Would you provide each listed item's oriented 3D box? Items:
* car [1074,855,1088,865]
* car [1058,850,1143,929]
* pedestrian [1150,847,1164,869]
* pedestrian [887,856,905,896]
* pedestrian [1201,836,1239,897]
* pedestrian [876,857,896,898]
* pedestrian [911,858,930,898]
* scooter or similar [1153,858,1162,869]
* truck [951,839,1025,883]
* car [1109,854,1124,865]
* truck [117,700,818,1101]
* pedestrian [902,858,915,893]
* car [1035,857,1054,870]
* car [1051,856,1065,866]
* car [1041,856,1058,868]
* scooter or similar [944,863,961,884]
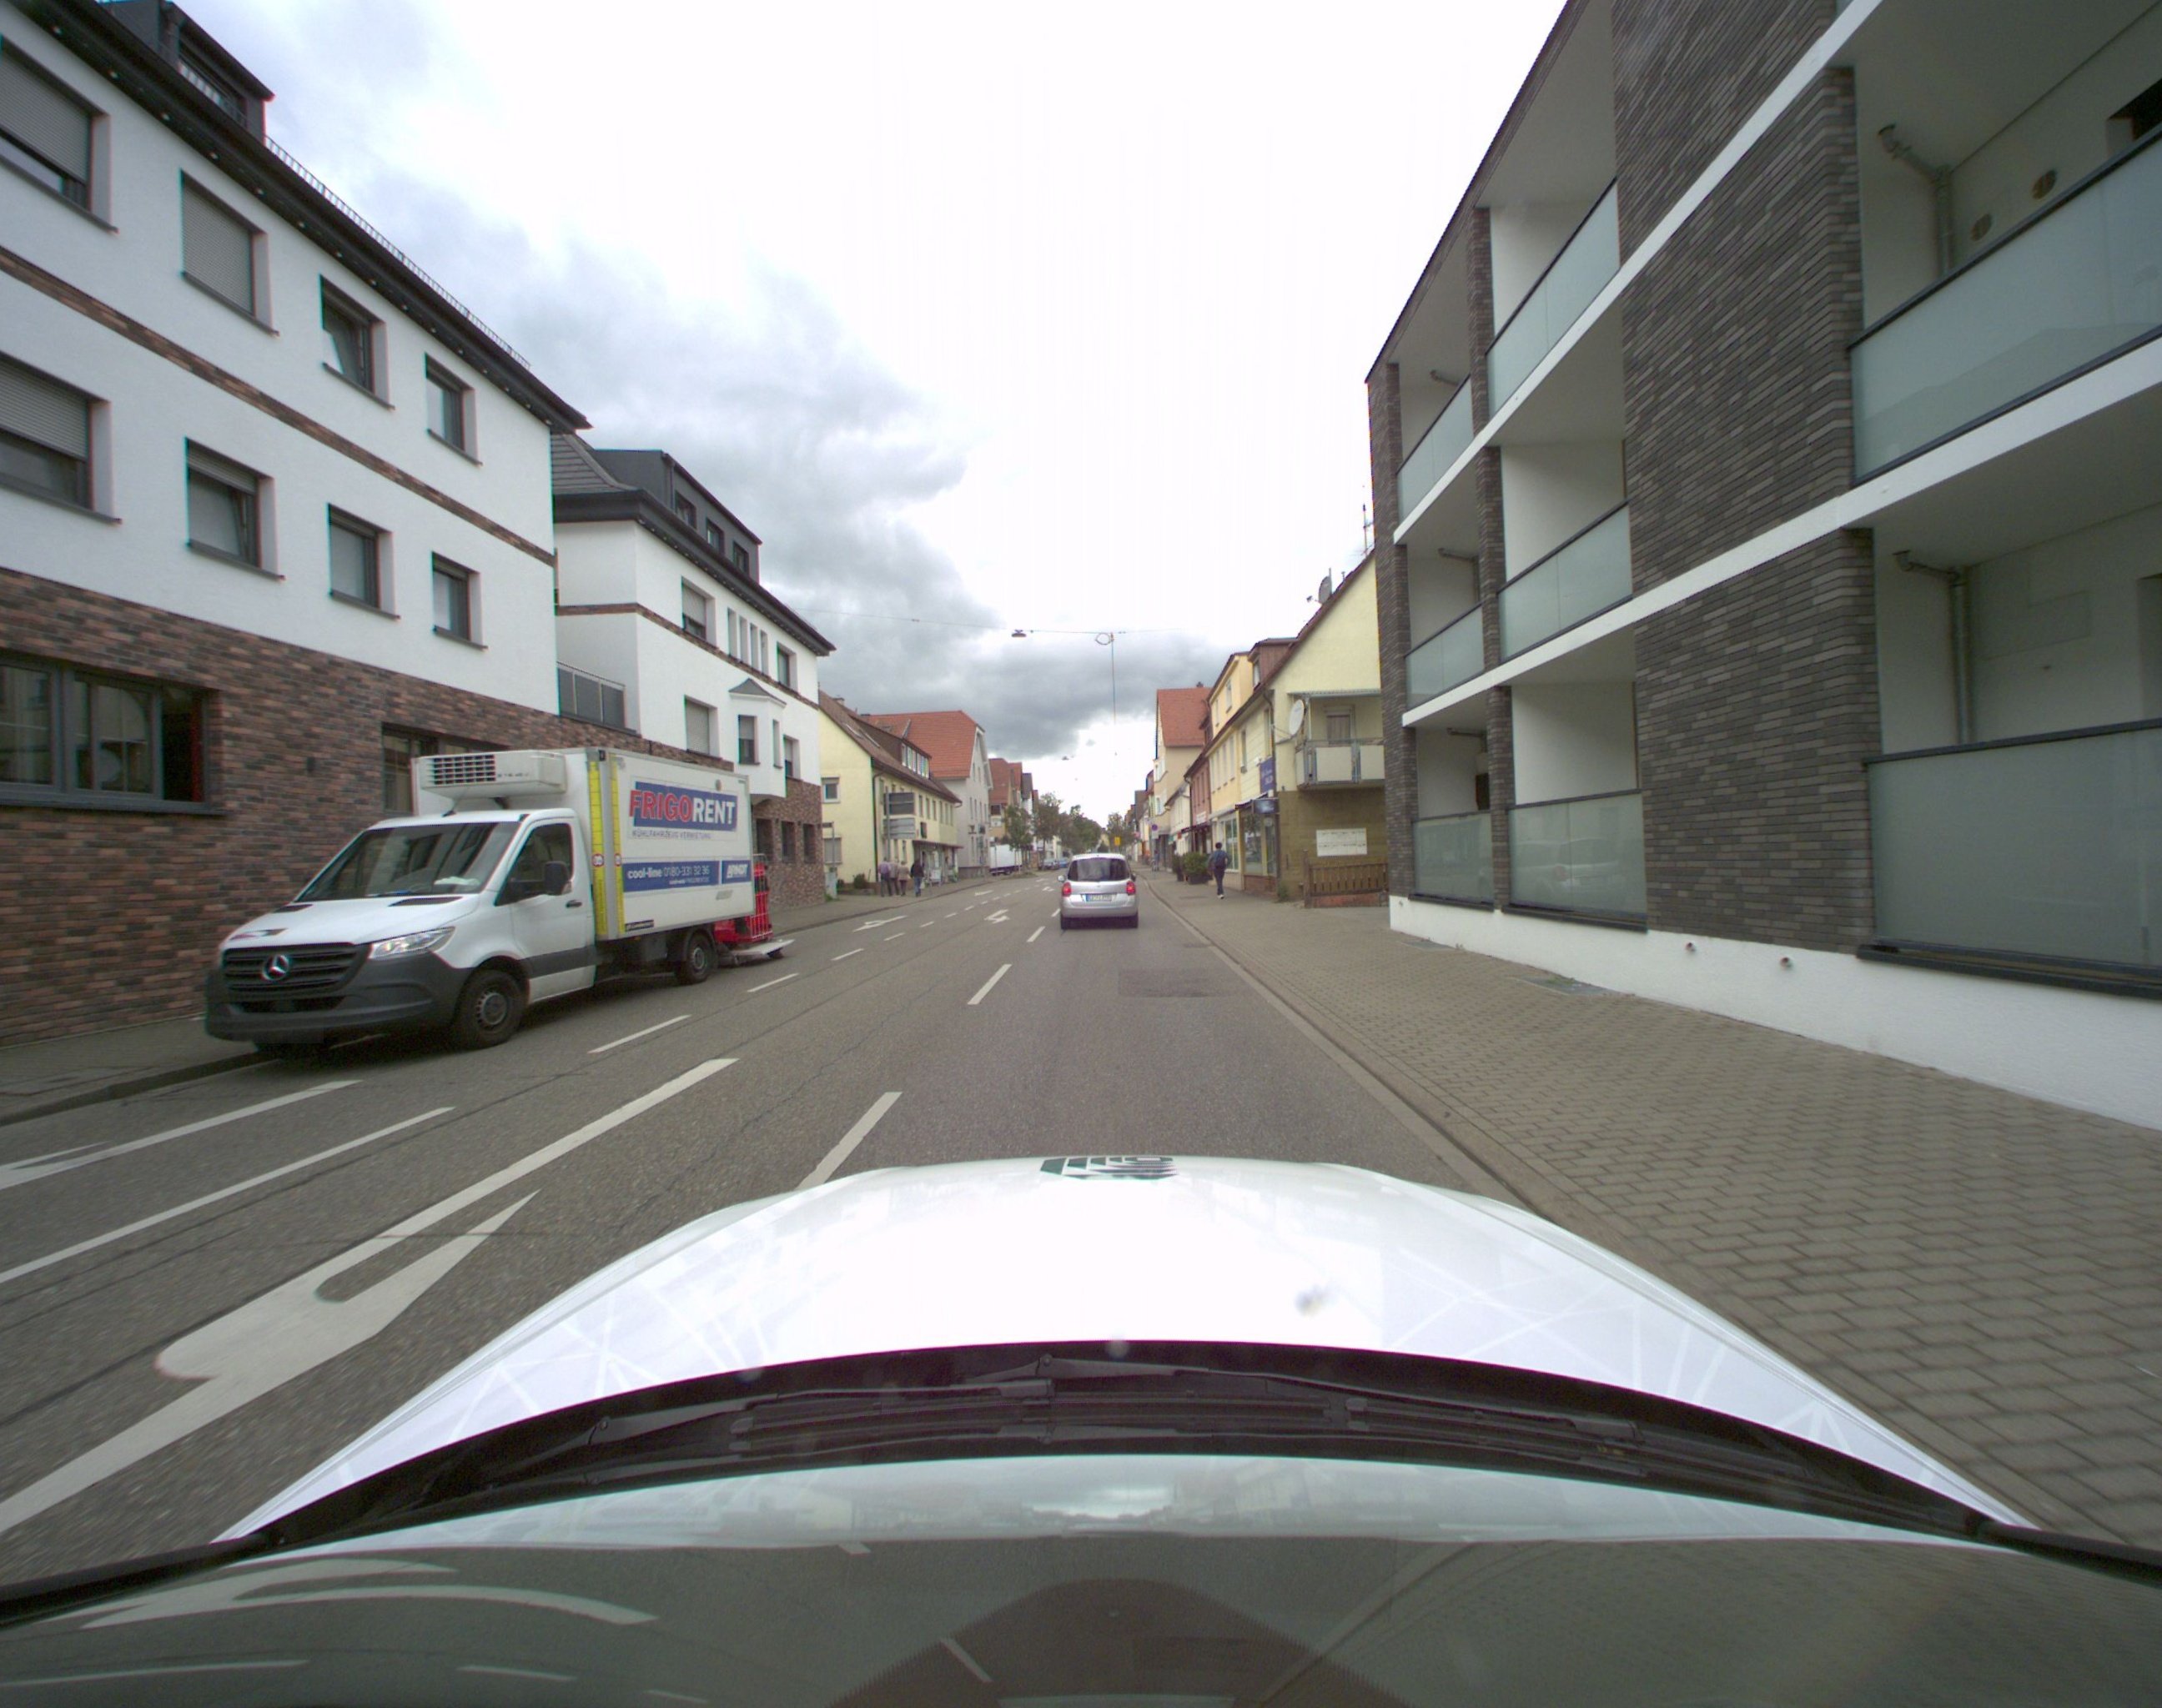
[{"bbox_3d":[0.008,0.916,124.419,1.806,1.354,3.859,-4,0,2],"label":"car"},{"bbox_3d":[0.429,0.727,18.561,1.700,1.579,4.001,-1,0,1],"label":"car"},{"bbox_3d":[6.284,0.330,67.441,0.886,1.786,0.785,-5,0,1],"label":"pedestrian"},{"bbox_3d":[-8.260,0.987,36.390,0.577,1.757,0.688,-1,0,1],"label":"pedestrian"},{"bbox_3d":[4.244,0.374,24.918,0.886,1.786,0.785,-5,0,1],"label":"pedestrian"},{"bbox_3d":[-8.436,1.012,35.170,0.645,1.757,0.688,-1,0,1],"label":"pedestrian"},{"bbox_3d":[-7.070,1.047,35.840,0.660,1.757,0.688,-1,0,1],"label":"pedestrian"},{"bbox_3d":[6.420,0.778,68.260,0.678,0.833,0.823,-5,0,1],"label":"scooter or similar"},{"bbox_3d":[-9.042,0.647,79.888,2.571,3.857,6.890,-4,0,44],"label":"truck"},{"bbox_3d":[4.679,0.699,107.364,1.806,1.354,4.002,-4,0,2],"label":"car"},{"bbox_3d":[-6.162,0.362,10.561,2.427,2.953,8.365,-4,0,1],"label":"truck"},{"bbox_3d":[-7.670,0.966,36.178,0.424,1.525,0.554,-1,0,1],"label":"pedestrian"},{"bbox_3d":[-4.319,1.126,97.218,1.806,1.354,4.002,-4,0,2],"label":"car"},{"bbox_3d":[-3.412,1.096,123.989,1.806,1.354,4.002,-4,0,2],"label":"car"},{"bbox_3d":[-3.910,0.966,102.629,1.806,1.354,4.002,-4,0,2],"label":"car"},{"bbox_3d":[-8.652,1.304,54.793,0.573,1.269,2.549,-4,0,2],"label":"scooter or similar"}]
